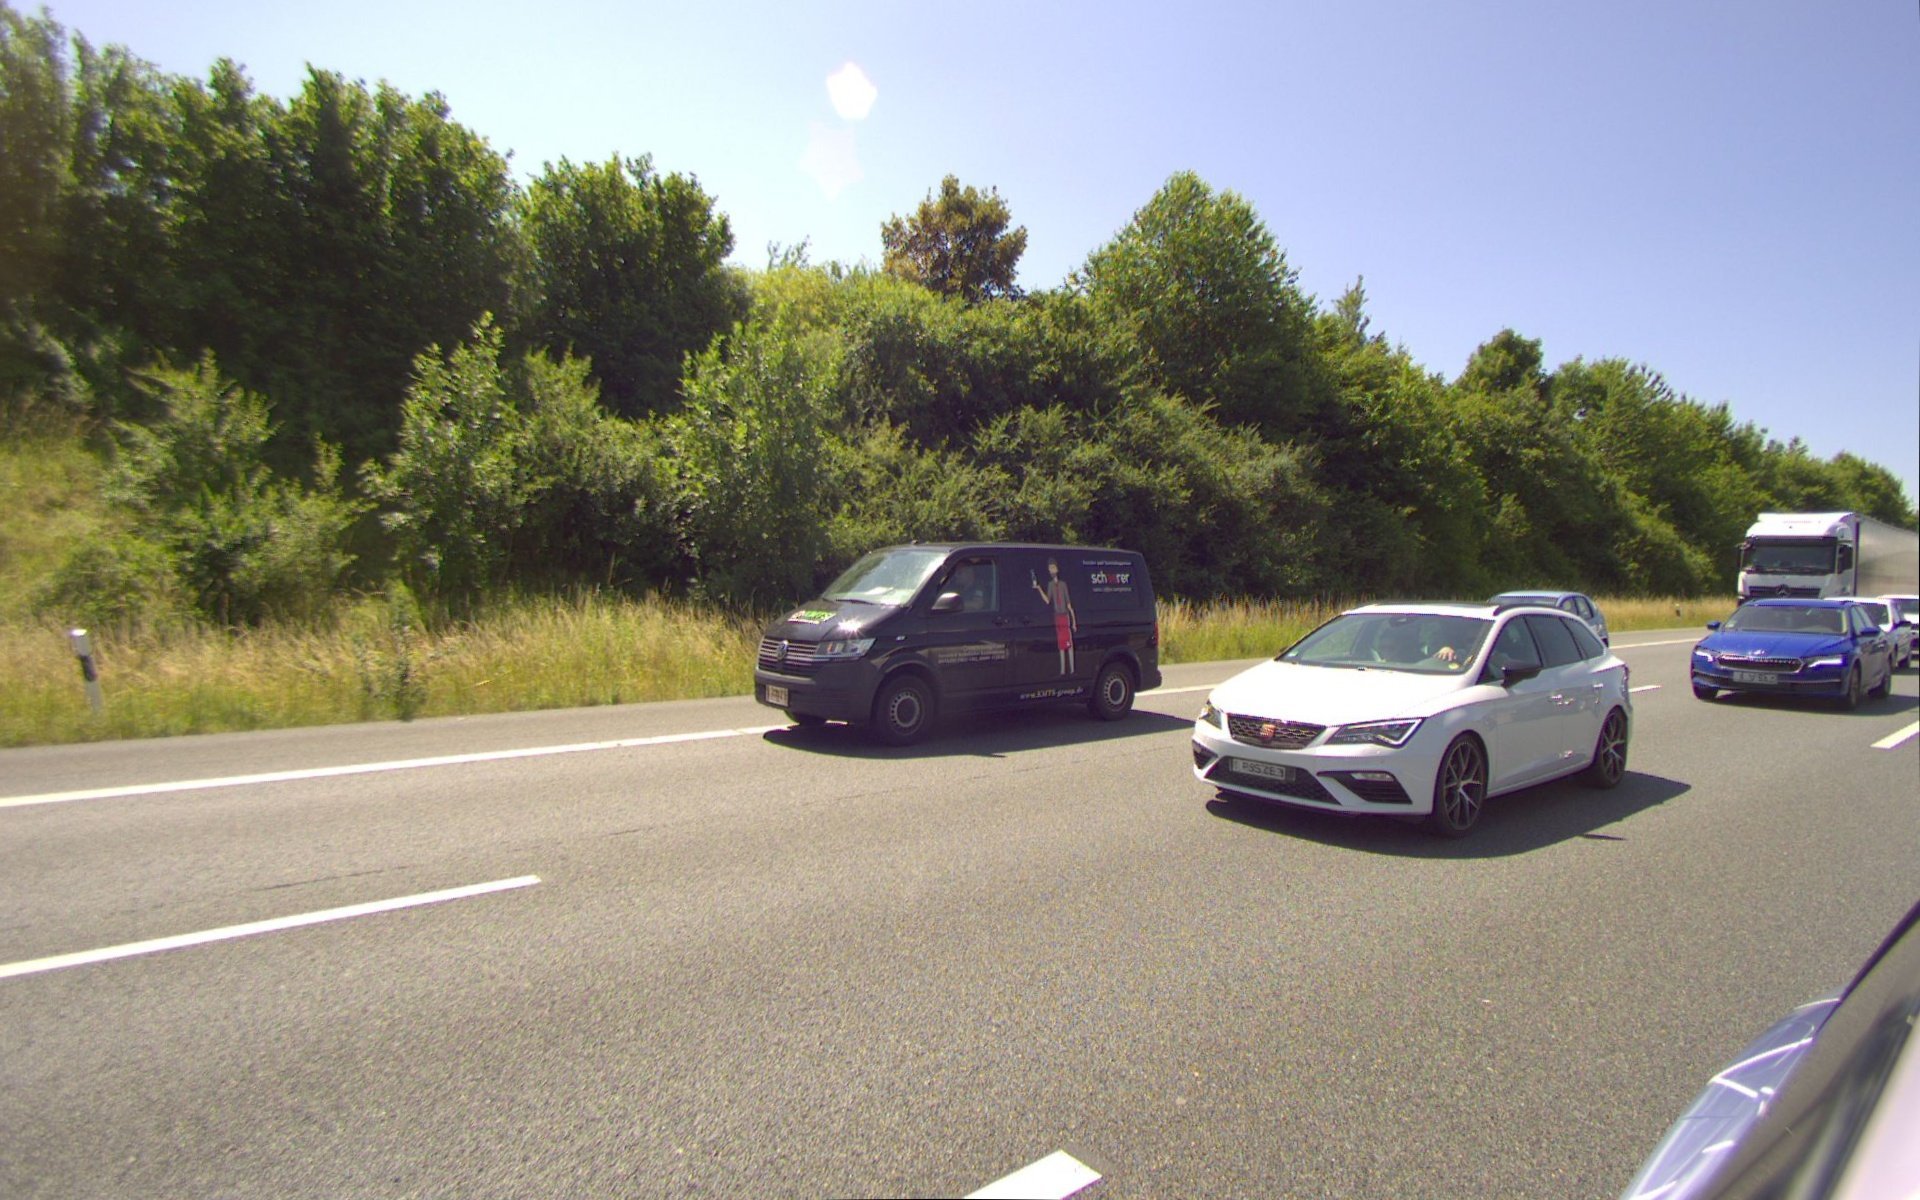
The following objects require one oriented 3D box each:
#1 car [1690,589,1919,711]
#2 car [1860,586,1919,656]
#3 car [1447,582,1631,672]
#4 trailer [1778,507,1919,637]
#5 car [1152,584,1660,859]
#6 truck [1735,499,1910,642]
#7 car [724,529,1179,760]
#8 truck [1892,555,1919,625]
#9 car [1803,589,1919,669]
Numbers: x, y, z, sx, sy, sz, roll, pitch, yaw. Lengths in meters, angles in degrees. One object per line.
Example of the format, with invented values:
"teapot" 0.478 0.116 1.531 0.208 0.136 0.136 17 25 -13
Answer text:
"car" 12.380 0.595 14.701 4.491 1.434 1.780 -1 3 -39
"car" 23.784 0.480 24.983 3.815 1.577 1.748 -1 3 -39
"car" 10.956 0.443 19.064 3.851 1.479 1.666 0 2 -38
"trailer" 33.809 -0.963 37.597 11.857 4.209 2.880 -1 1 -39
"car" 3.487 0.629 7.537 4.236 1.461 1.751 -1 2 -39
"truck" 28.576 -0.914 33.377 8.322 4.209 2.880 0 1 -39
"car" 0.075 0.320 10.883 4.770 1.964 1.918 -1 2 -39
"truck" 46.183 -0.476 47.835 5.572 3.185 2.300 0 1 -39
"car" 19.099 0.538 21.150 3.742 1.451 1.609 -1 3 -40
